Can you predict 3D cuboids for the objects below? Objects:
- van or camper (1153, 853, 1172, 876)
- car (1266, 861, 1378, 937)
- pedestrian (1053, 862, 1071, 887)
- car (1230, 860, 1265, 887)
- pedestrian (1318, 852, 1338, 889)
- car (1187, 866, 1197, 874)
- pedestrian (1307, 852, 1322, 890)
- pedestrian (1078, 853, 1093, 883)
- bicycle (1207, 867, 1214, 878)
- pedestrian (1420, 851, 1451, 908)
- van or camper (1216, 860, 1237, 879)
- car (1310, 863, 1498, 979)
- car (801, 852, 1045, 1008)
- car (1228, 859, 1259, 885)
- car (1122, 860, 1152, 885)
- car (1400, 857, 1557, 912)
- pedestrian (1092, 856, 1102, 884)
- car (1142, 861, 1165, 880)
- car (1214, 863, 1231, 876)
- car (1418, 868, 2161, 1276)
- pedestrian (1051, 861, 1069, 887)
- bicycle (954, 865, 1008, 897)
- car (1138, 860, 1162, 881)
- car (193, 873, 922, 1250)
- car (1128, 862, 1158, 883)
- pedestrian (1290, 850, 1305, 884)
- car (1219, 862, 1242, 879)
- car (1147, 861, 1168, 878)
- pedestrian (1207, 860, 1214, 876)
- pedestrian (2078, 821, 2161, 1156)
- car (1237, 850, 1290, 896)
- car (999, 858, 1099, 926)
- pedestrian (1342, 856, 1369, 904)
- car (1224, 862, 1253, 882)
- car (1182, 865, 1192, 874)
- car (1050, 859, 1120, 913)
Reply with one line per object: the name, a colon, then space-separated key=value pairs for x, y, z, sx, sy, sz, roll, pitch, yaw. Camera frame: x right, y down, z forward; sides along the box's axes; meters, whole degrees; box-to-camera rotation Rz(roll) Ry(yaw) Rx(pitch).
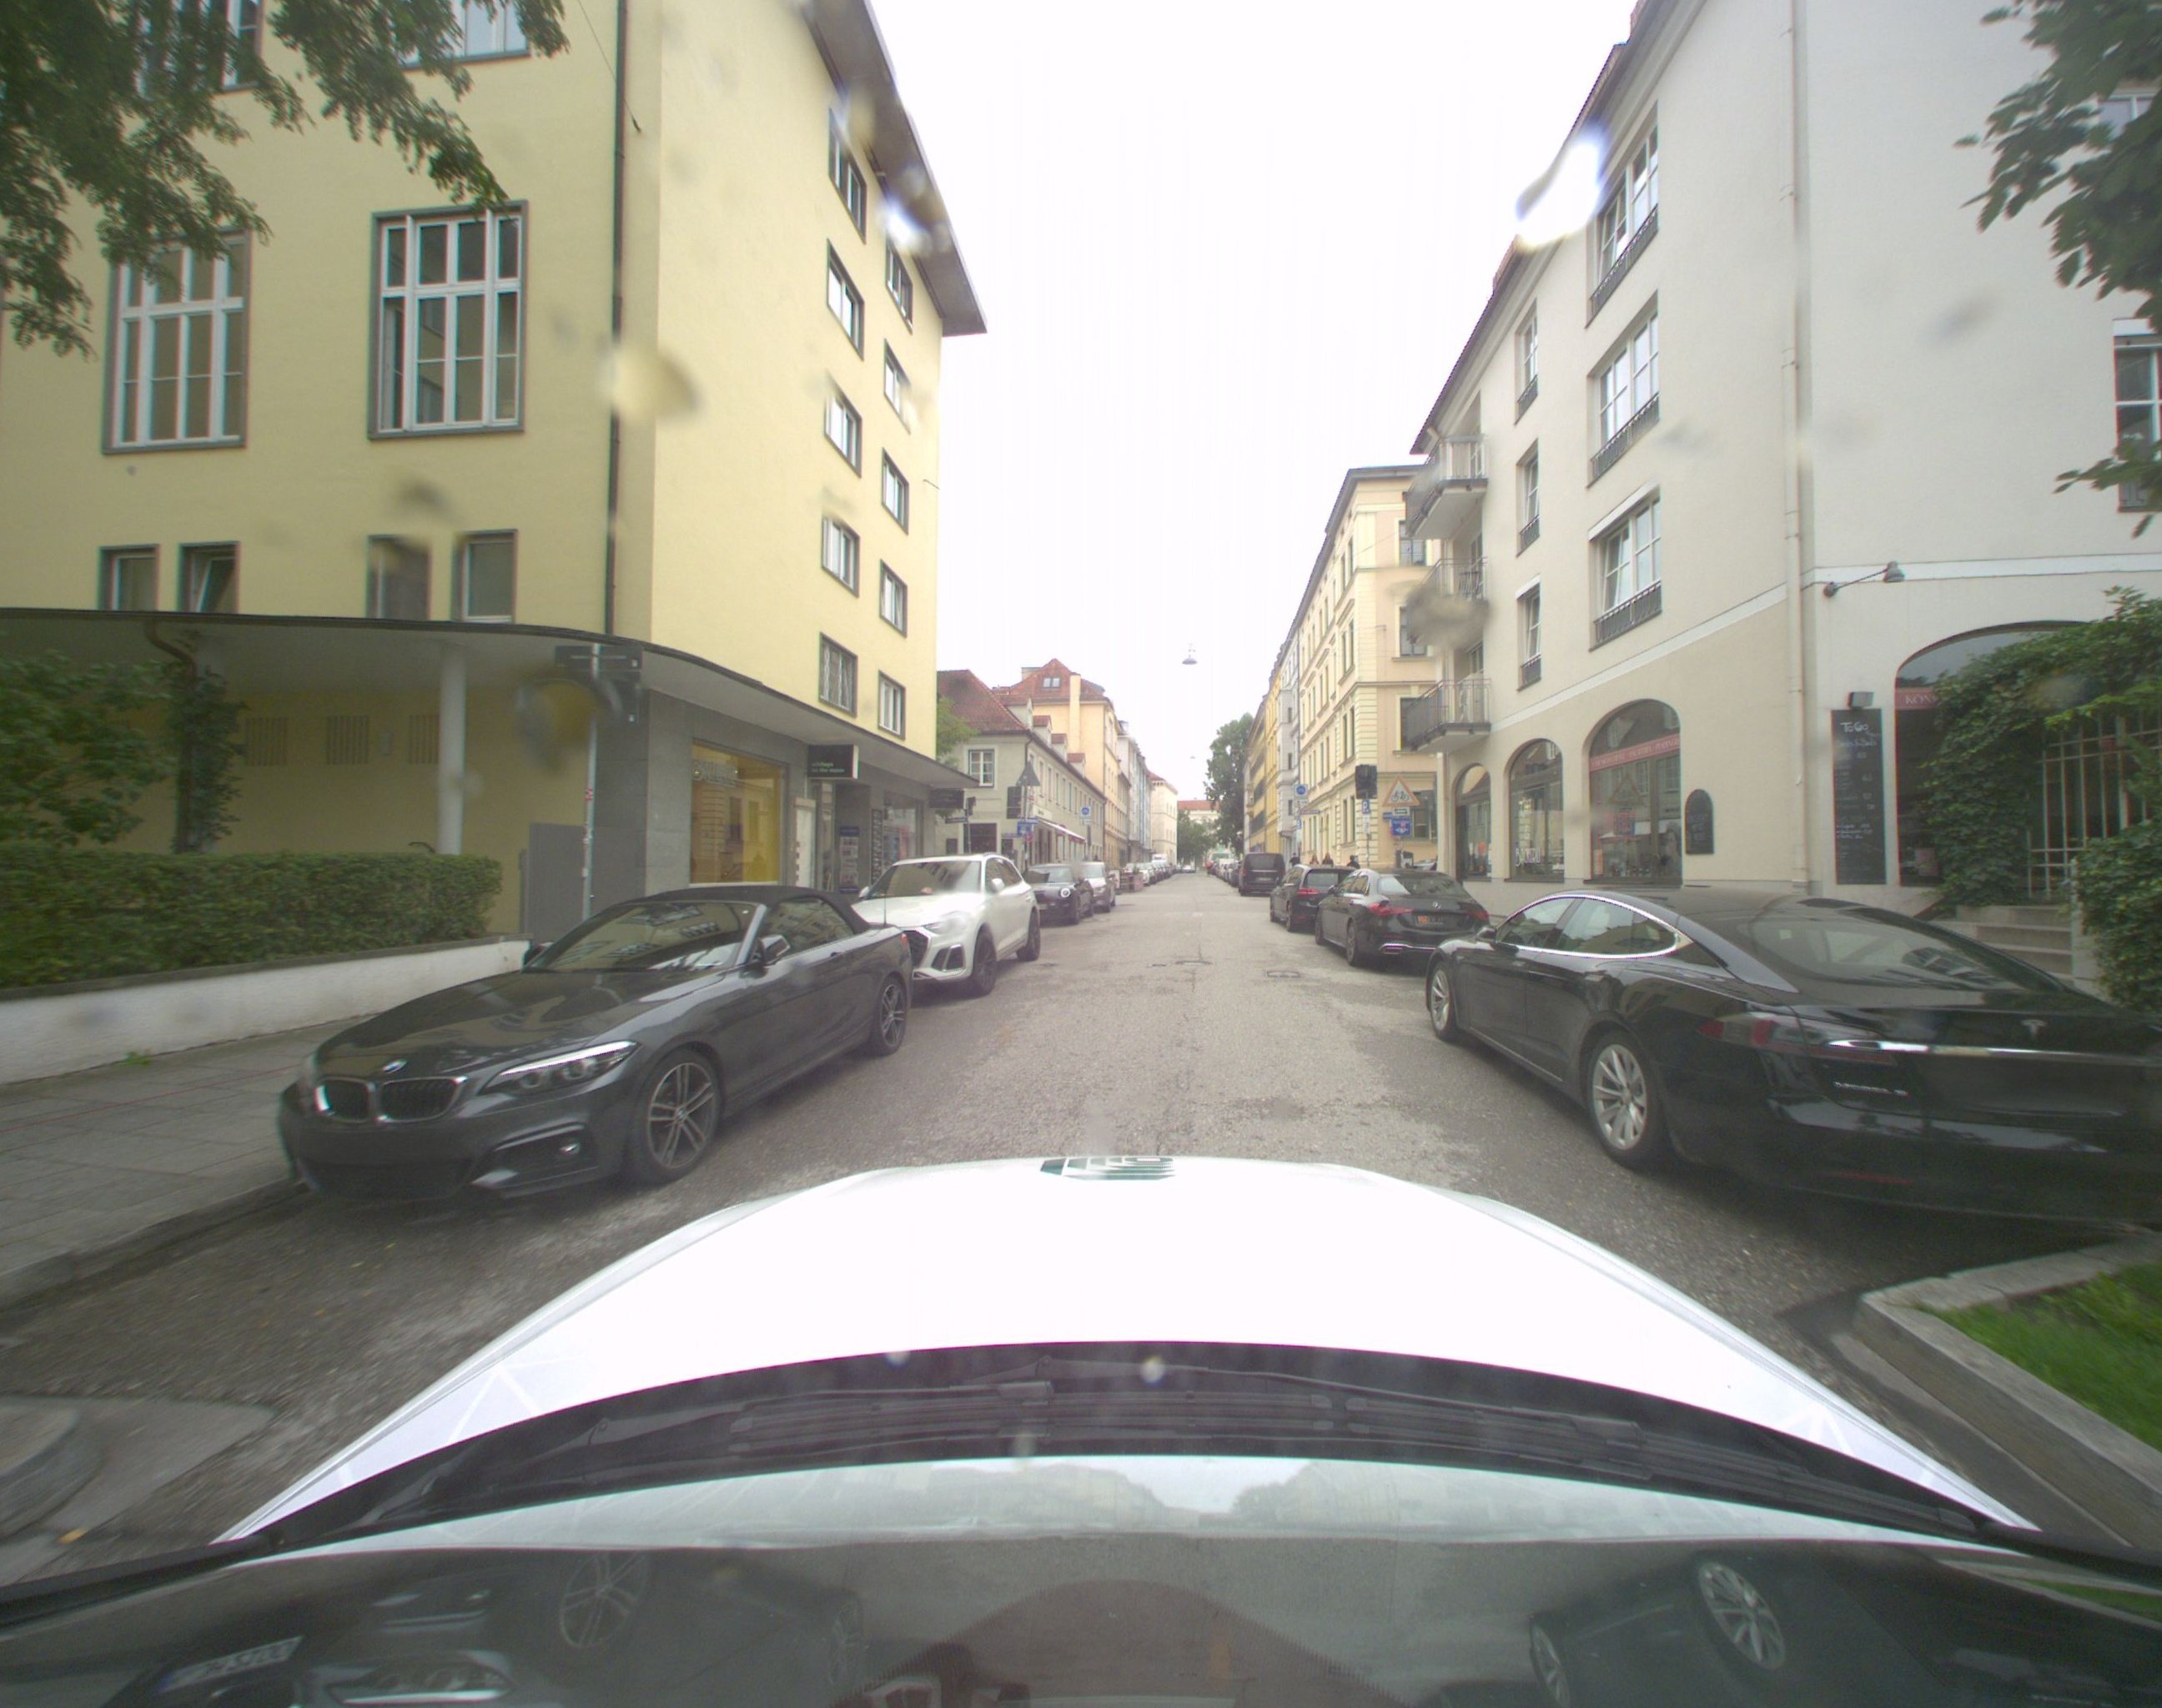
van or camper: x=8.176 y=1.069 z=81.695 sx=1.745 sy=2.281 sz=5.283 roll=0 pitch=-1 yaw=7
car: x=5.335 y=0.922 z=18.526 sx=1.667 sy=1.425 sz=4.210 roll=2 pitch=0 yaw=6
pedestrian: x=-0.976 y=1.058 z=41.982 sx=0.799 sy=1.290 sz=0.695 roll=0 pitch=-2 yaw=8
car: x=9.659 y=1.129 z=47.415 sx=1.744 sy=1.521 sz=4.284 roll=0 pitch=-1 yaw=8
pedestrian: x=10.748 y=0.724 z=35.413 sx=0.655 sy=1.621 sz=0.981 roll=0 pitch=-2 yaw=7
car: x=22.213 y=3.186 z=163.098 sx=1.696 sy=1.581 sz=3.874 roll=-1 pitch=-1 yaw=11
pedestrian: x=10.167 y=0.739 z=35.475 sx=0.469 sy=1.625 sz=1.071 roll=0 pitch=-2 yaw=7
pedestrian: x=0.284 y=0.928 z=51.905 sx=0.818 sy=1.898 sz=0.829 roll=0 pitch=-2 yaw=7
bicycle: x=13.633 y=1.937 z=85.697 sx=0.671 sy=1.095 sz=1.764 roll=0 pitch=-2 yaw=9
pedestrian: x=10.317 y=0.743 z=23.710 sx=0.632 sy=1.647 sz=0.527 roll=0 pitch=-2 yaw=0
van or camper: x=14.452 y=1.540 z=81.081 sx=1.823 sy=1.872 sz=5.090 roll=0 pitch=-1 yaw=8
car: x=4.876 y=0.902 z=12.980 sx=1.637 sy=1.425 sz=4.518 roll=2 pitch=0 yaw=7
car: x=-1.775 y=0.805 z=10.729 sx=1.792 sy=1.584 sz=4.348 roll=-1 pitch=0 yaw=8
car: x=10.502 y=1.145 z=52.841 sx=1.733 sy=1.583 sz=4.476 roll=0 pitch=-1 yaw=8
car: x=3.530 y=1.149 z=50.457 sx=1.746 sy=1.475 sz=3.719 roll=1 pitch=-1 yaw=5
car: x=12.280 y=0.932 z=25.396 sx=4.067 sy=1.605 sz=1.758 roll=0 pitch=1 yaw=6
pedestrian: x=1.052 y=1.019 z=52.333 sx=0.525 sy=1.782 sz=0.879 roll=0 pitch=-2 yaw=8
car: x=5.907 y=1.305 z=66.388 sx=1.808 sy=1.441 sz=4.136 roll=-1 pitch=-1 yaw=4
car: x=16.537 y=1.772 z=95.181 sx=1.802 sy=1.465 sz=4.255 roll=1 pitch=-1 yaw=8
car: x=3.792 y=0.844 z=5.369 sx=1.792 sy=1.410 sz=4.667 roll=1 pitch=0 yaw=8
pedestrian: x=-1.069 y=1.032 z=41.263 sx=0.799 sy=1.290 sz=0.695 roll=0 pitch=-2 yaw=8
bicycle: x=-3.490 y=0.936 z=28.444 sx=1.807 sy=1.035 sz=0.393 roll=2 pitch=0 yaw=10
car: x=5.212 y=1.245 z=61.287 sx=1.746 sy=1.496 sz=4.206 roll=0 pitch=-1 yaw=5
car: x=-2.588 y=0.882 z=5.358 sx=1.736 sy=1.411 sz=4.107 roll=-1 pitch=0 yaw=8
car: x=4.274 y=1.245 z=55.447 sx=1.789 sy=1.339 sz=4.694 roll=0 pitch=0 yaw=7
pedestrian: x=12.936 y=0.796 z=48.686 sx=0.665 sy=1.981 sz=0.710 roll=-3 pitch=-3 yaw=8
car: x=13.085 y=1.454 z=71.423 sx=1.699 sy=1.454 sz=4.103 roll=0 pitch=-1 yaw=6
car: x=6.739 y=1.346 z=71.417 sx=1.745 sy=1.409 sz=4.110 roll=0 pitch=-1 yaw=7
pedestrian: x=13.634 y=1.492 z=85.758 sx=0.638 sy=1.714 sz=0.844 roll=0 pitch=-2 yaw=9
pedestrian: x=5.702 y=0.665 z=3.907 sx=0.701 sy=1.661 sz=0.882 roll=0 pitch=-2 yaw=7
car: x=8.064 y=0.827 z=36.363 sx=1.985 sy=1.864 sz=5.266 roll=1 pitch=-1 yaw=9
car: x=-0.680 y=0.864 z=20.094 sx=1.669 sy=1.471 sz=4.107 roll=-1 pitch=-1 yaw=9
pedestrian: x=10.061 y=0.953 z=29.898 sx=0.715 sy=1.717 sz=1.005 roll=0 pitch=-2 yaw=7
car: x=11.370 y=1.310 z=59.119 sx=1.699 sy=1.405 sz=4.214 roll=0 pitch=-1 yaw=6
car: x=20.509 y=2.965 z=157.125 sx=1.696 sy=1.581 sz=3.874 roll=-1 pitch=-1 yaw=11
car: x=0.230 y=0.903 z=24.722 sx=1.671 sy=1.471 sz=4.957 roll=-1 pitch=-1 yaw=5
